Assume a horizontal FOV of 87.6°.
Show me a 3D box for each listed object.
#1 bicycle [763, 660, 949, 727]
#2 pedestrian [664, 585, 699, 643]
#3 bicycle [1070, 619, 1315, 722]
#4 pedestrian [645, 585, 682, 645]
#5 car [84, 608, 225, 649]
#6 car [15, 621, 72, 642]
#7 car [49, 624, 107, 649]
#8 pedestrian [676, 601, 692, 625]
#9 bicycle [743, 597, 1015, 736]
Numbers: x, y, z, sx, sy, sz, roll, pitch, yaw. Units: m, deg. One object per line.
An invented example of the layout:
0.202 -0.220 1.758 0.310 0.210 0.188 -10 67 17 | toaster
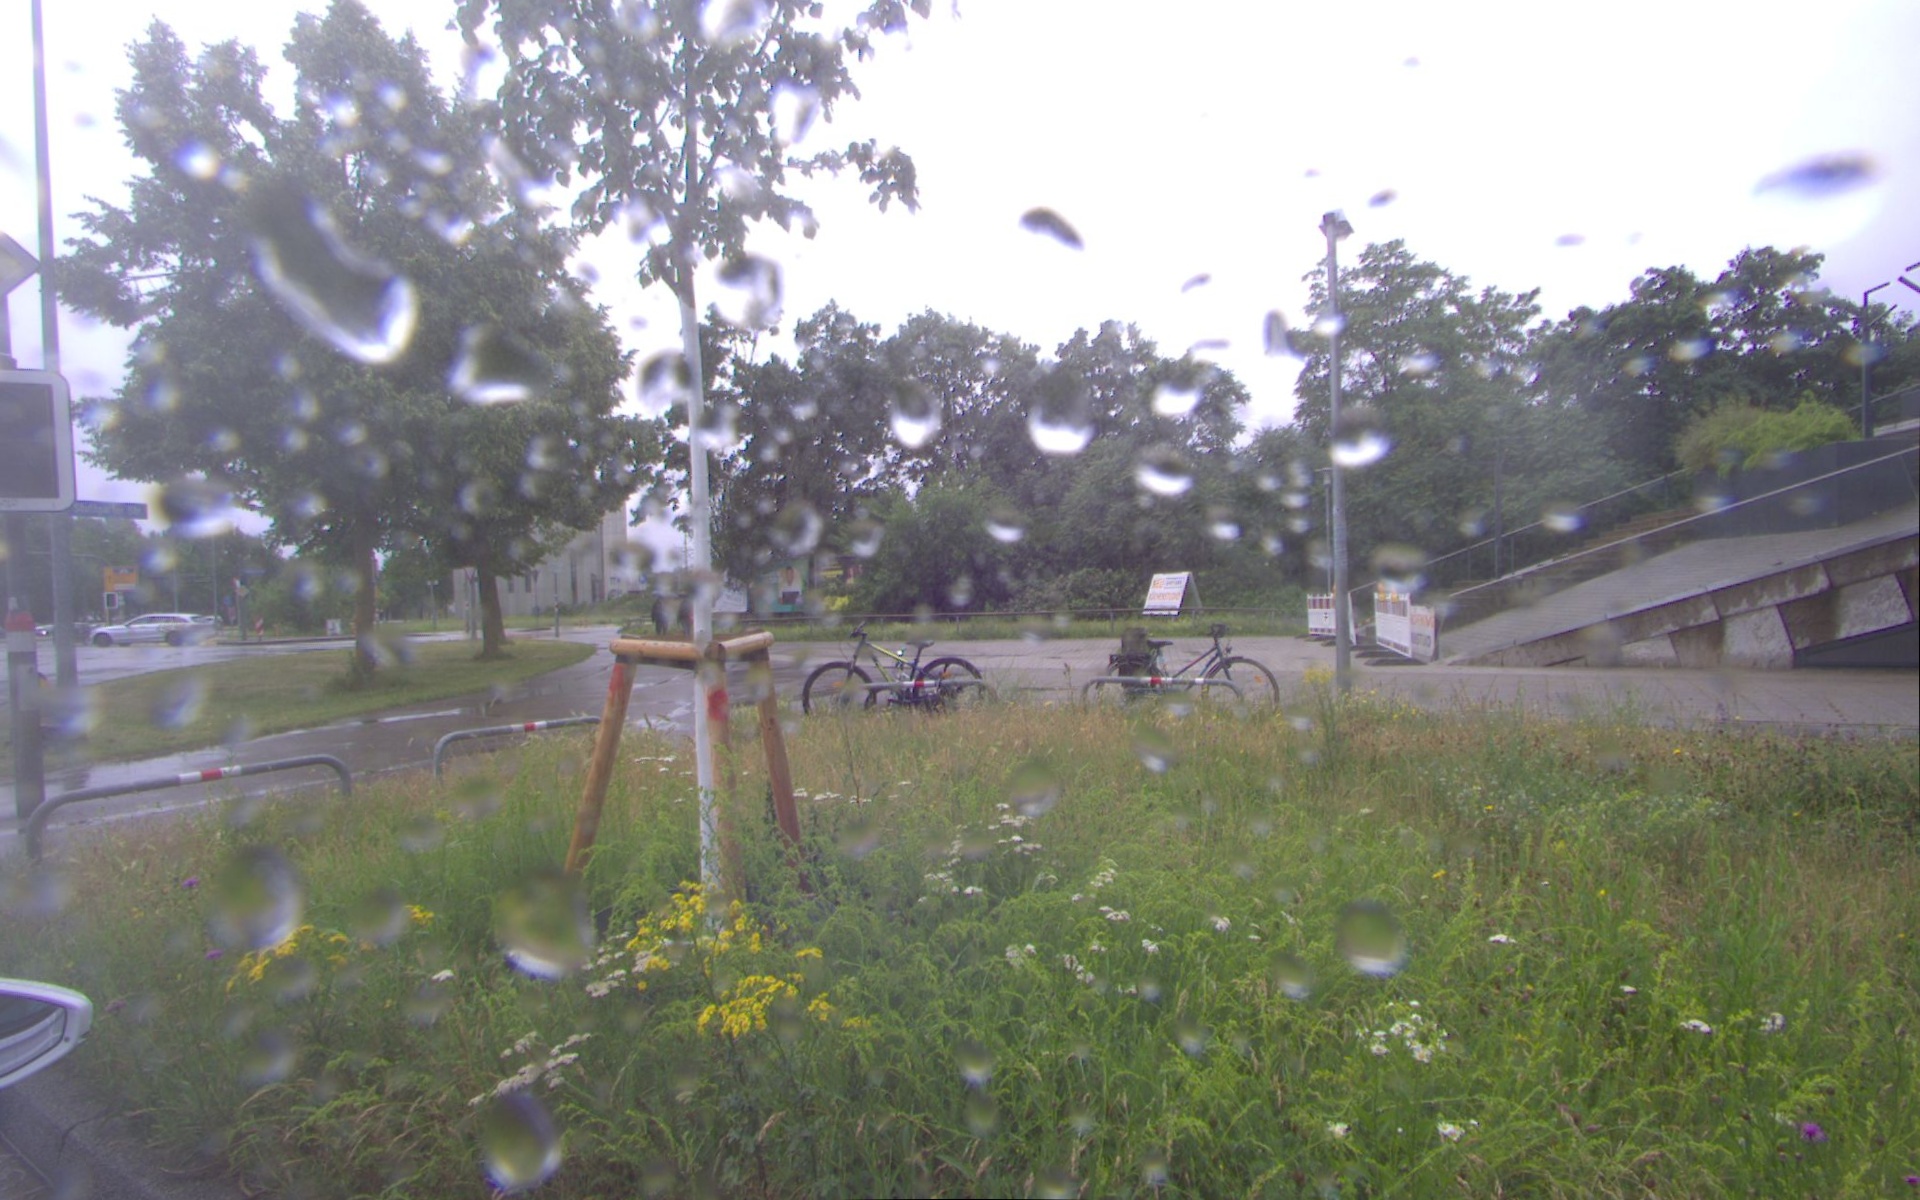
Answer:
-1.006 0.893 9.747 1.771 0.566 0.320 -1 1 -17 | bicycle
-8.791 0.443 31.669 0.906 1.807 0.808 0 -1 -3 | pedestrian
2.127 0.614 9.303 2.131 0.858 0.633 -1 0 30 | bicycle
-9.033 0.457 30.541 0.906 1.807 0.808 0 -1 -3 | pedestrian
-37.195 1.317 46.400 4.757 1.833 1.785 1 -2 -21 | car
-79.302 2.773 86.692 1.964 1.772 3.996 0 -2 -14 | car
-56.345 2.307 64.025 1.665 1.512 3.243 -1 0 -20 | car
-21.208 1.021 76.959 0.705 1.794 0.948 -1 -2 42 | pedestrian
-0.750 0.583 9.406 2.480 1.205 0.552 -1 1 -17 | bicycle
